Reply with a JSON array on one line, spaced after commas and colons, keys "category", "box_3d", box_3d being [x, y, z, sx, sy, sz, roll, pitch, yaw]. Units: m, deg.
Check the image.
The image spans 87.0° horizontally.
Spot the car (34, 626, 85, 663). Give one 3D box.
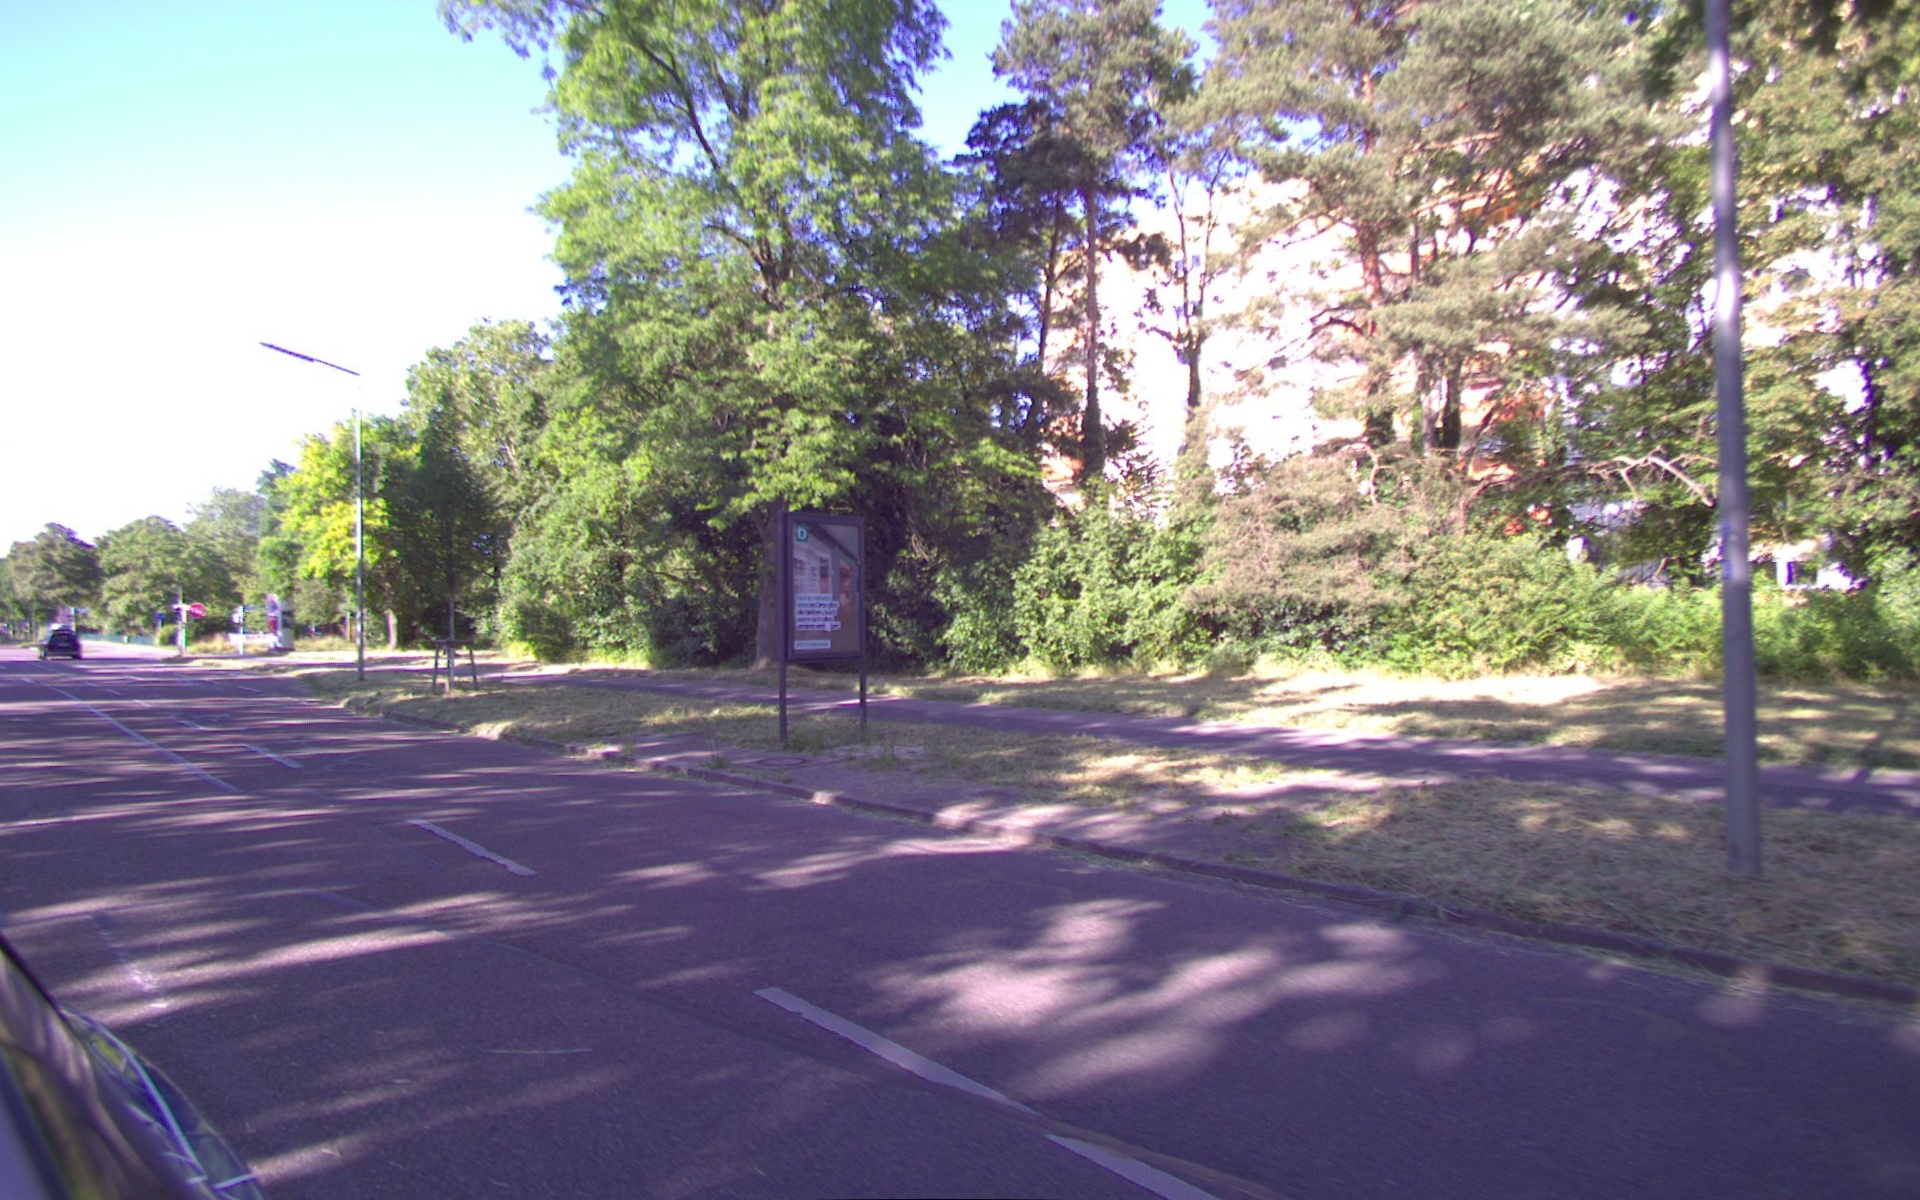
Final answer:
[{"category": "car", "box_3d": [-53.839, 2.654, 60.493, 3.642, 2.111, 1.878, -2, -4, 44]}]
